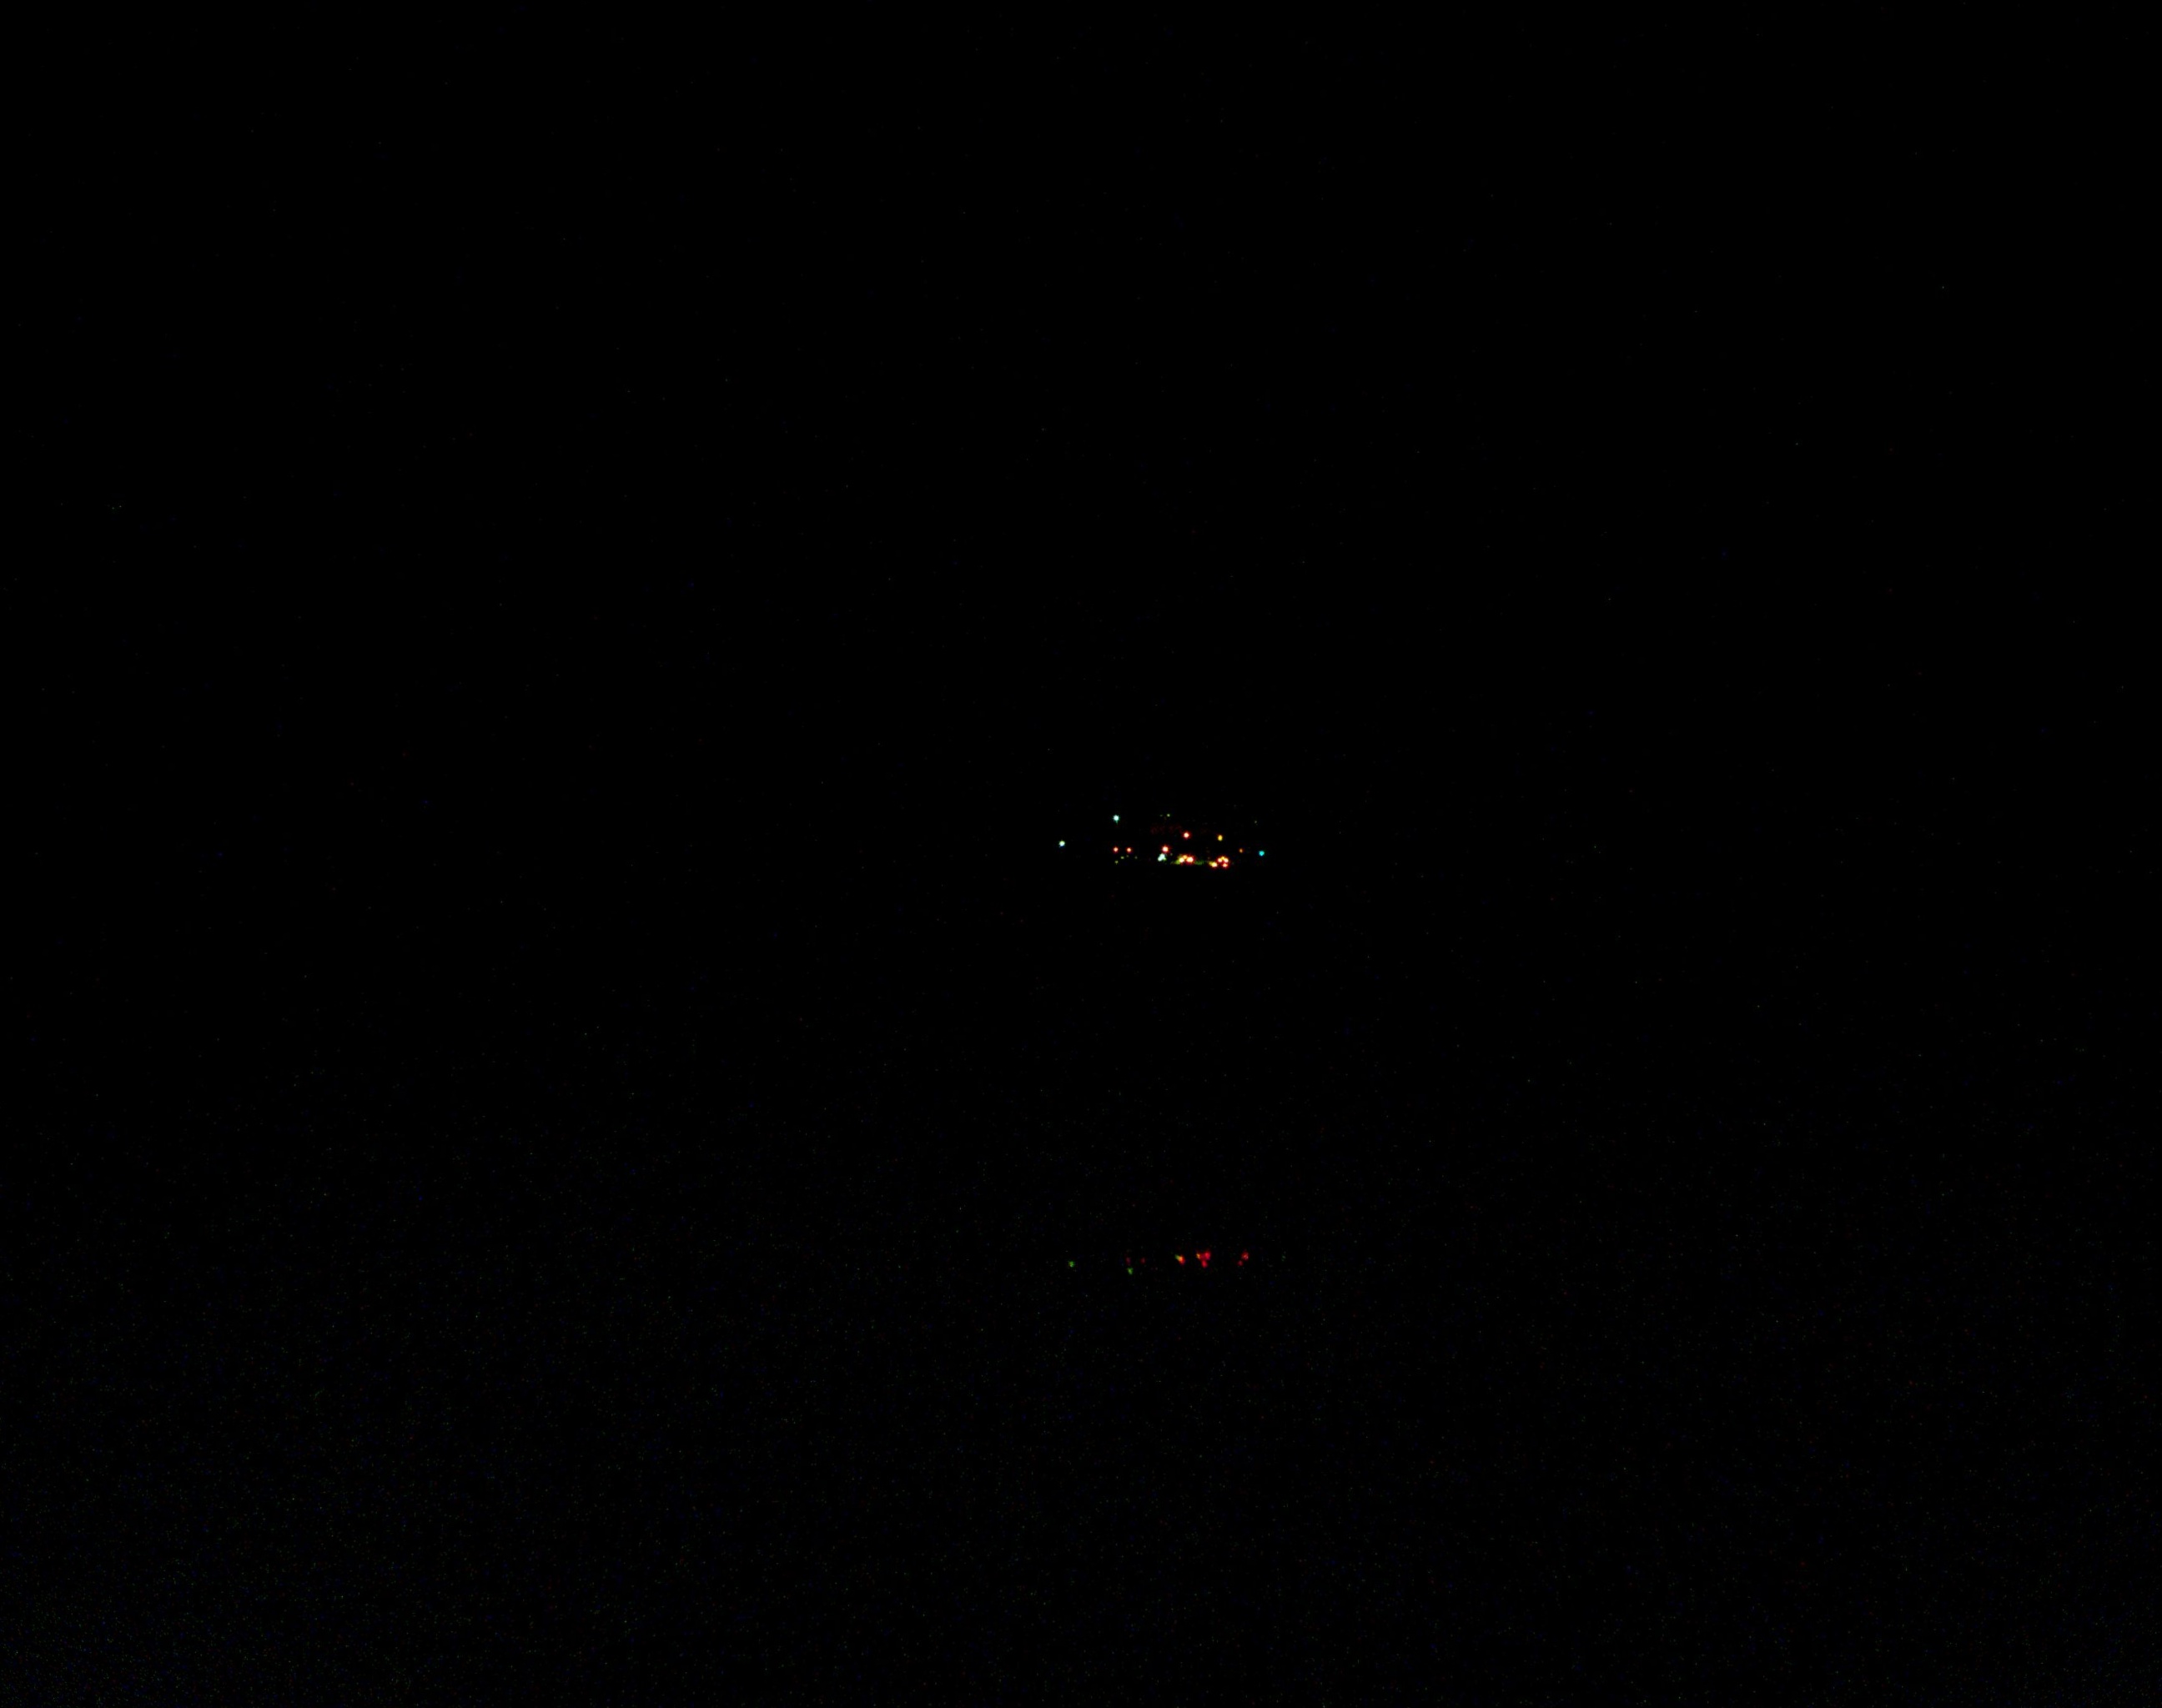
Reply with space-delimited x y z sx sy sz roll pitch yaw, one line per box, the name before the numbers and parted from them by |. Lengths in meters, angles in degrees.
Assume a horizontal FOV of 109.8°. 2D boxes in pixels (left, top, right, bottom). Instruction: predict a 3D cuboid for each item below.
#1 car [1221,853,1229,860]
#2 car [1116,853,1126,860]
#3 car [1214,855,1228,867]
car | 33.441 0.626 176.669 1.655 1.467 4.003 -2 1 10
car | 7.635 0.489 145.104 1.570 1.336 4.166 -2 0 1
car | 18.024 0.909 97.691 1.723 1.438 4.384 -2 1 11
